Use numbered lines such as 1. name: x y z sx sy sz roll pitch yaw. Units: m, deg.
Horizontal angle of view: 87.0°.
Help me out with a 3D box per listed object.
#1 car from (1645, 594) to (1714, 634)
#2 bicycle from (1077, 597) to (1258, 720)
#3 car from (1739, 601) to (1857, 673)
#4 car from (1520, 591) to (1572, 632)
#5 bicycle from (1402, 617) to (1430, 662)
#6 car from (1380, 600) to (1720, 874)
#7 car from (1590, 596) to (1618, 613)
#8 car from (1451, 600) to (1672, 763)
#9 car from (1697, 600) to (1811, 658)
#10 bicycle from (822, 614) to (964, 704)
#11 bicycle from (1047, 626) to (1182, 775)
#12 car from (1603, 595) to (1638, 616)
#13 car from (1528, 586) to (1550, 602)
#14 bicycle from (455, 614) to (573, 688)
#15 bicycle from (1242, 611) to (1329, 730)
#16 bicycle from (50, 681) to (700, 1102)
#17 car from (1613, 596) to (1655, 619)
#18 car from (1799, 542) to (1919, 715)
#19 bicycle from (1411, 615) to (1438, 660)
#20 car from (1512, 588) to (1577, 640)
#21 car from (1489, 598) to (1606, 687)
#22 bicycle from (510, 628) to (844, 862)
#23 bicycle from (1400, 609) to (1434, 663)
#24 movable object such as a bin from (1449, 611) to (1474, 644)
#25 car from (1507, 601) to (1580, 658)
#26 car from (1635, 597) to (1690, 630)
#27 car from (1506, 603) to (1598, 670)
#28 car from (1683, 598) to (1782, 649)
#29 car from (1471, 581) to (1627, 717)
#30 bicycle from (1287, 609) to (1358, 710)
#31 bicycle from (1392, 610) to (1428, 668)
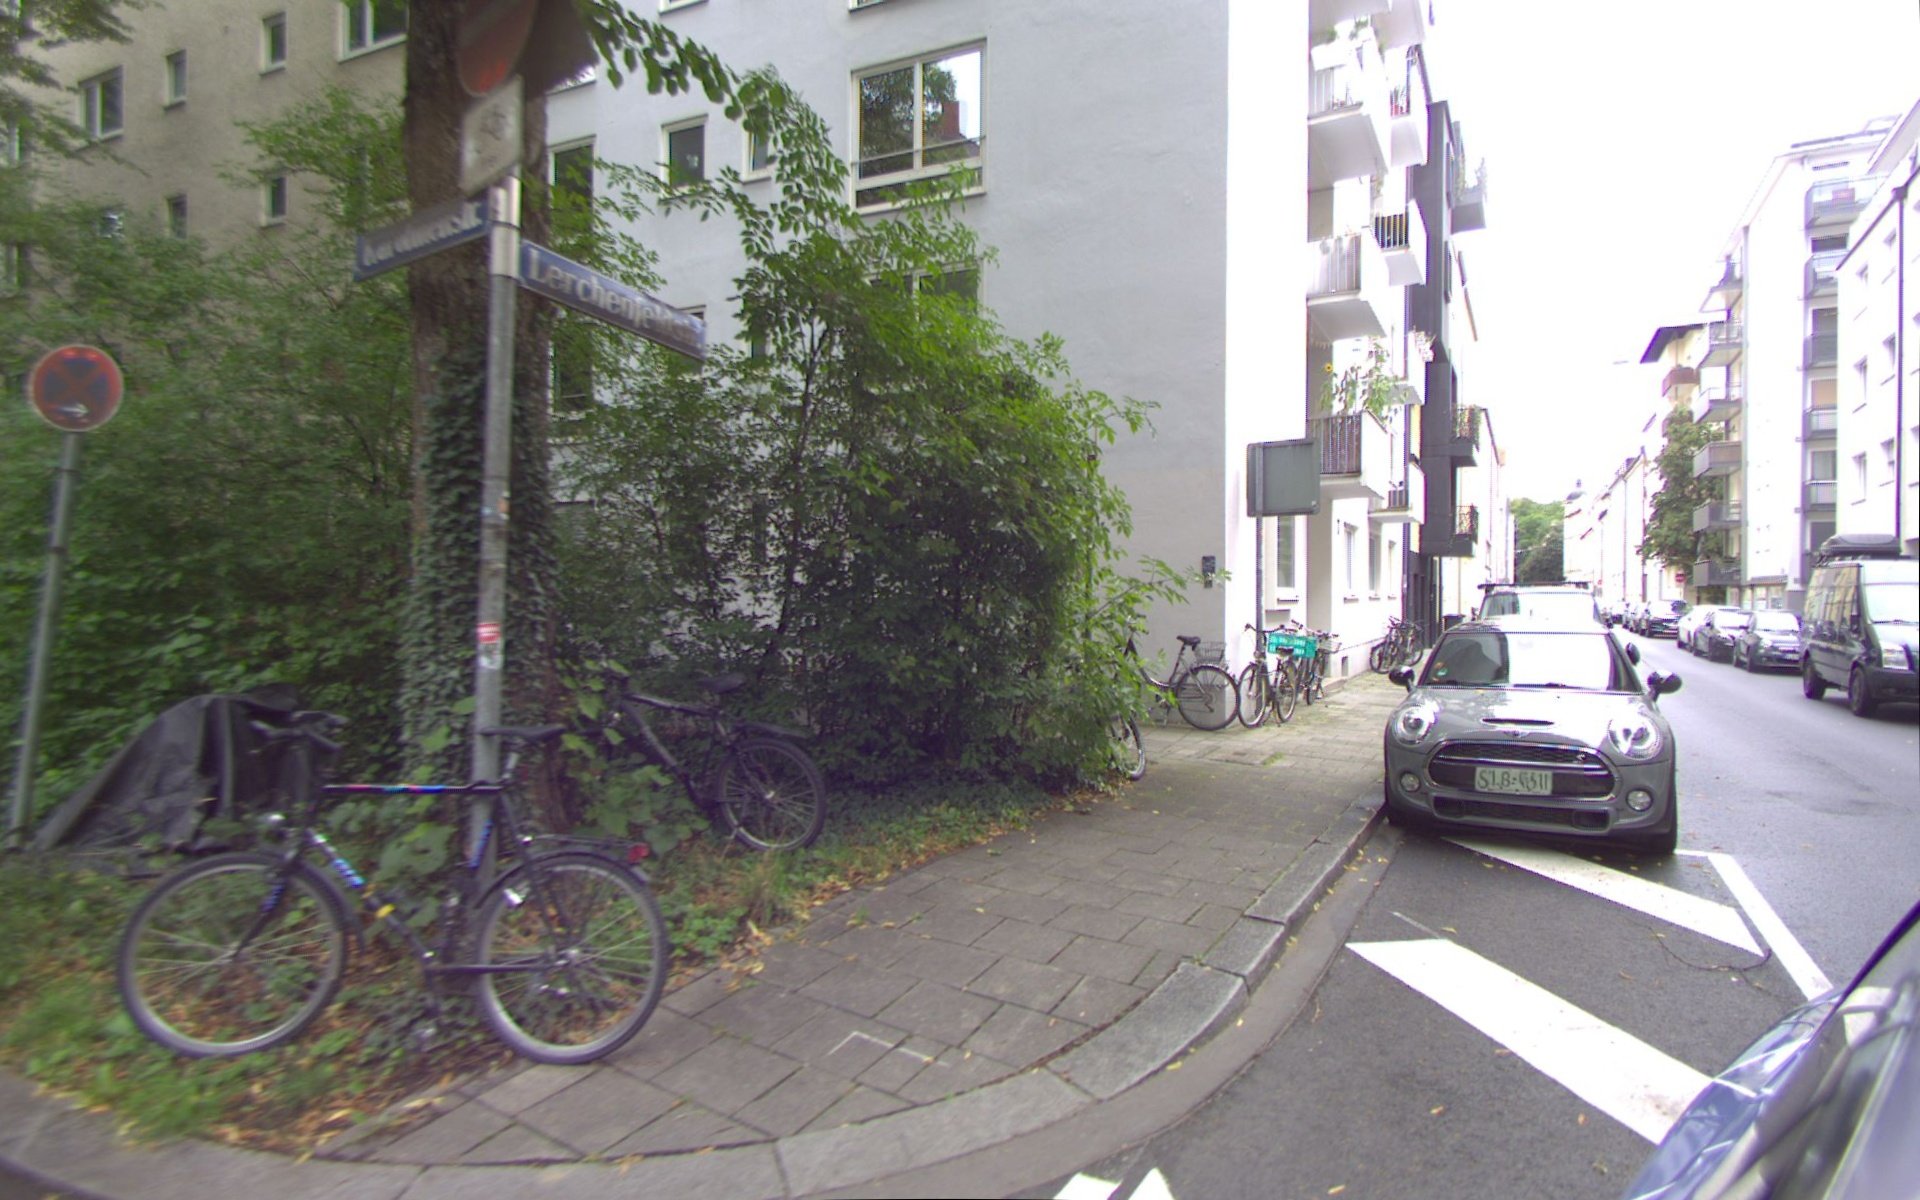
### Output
1. car: 31.151 0.553 43.935 1.956 1.627 4.493 1 1 30
2. bicycle: 2.225 0.600 10.901 1.833 1.245 0.573 0 -1 24
3. car: 20.029 0.819 24.340 1.605 1.464 3.701 3 2 32
4. car: 26.359 0.481 45.596 1.951 1.695 4.494 1 1 30
5. bicycle: 10.739 0.912 23.826 0.474 1.015 1.536 0 0 29
6. car: 4.463 0.753 7.741 1.735 1.459 3.956 1 1 31
7. car: 57.436 0.368 90.319 1.881 1.471 4.251 1 1 30
8. car: 6.739 0.754 11.542 1.823 1.437 4.016 1 1 29
9. car: 22.123 0.745 28.367 1.790 1.434 4.185 1 1 28
10. bicycle: -0.828 0.693 12.374 1.683 1.036 0.534 0 -1 25
11. bicycle: 1.240 0.775 8.444 0.442 1.069 1.638 0 0 -17
12. car: 48.931 0.376 75.039 1.881 1.471 4.251 1 1 30
13. car: 59.277 -0.649 103.672 1.881 1.651 4.251 1 1 30
14. bicycle: -6.603 0.728 14.967 1.683 1.036 0.648 0 -1 24
15. bicycle: 3.789 0.754 11.676 0.557 1.235 1.897 -1 0 30
16. bicycle: -1.766 0.864 3.241 1.738 1.152 0.555 0 0 -4
17. car: 43.630 0.480 65.570 1.956 1.394 4.251 1 1 30
18. car: 14.751 0.385 15.502 2.009 2.307 5.332 2 2 31
19. bicycle: 11.584 0.910 25.223 0.474 1.061 1.506 0 0 29
20. car: 22.388 0.490 38.853 1.971 1.862 5.130 -2 0 30
21. car: 12.198 0.772 21.117 1.895 1.573 4.577 1 1 30
22. bicycle: -1.467 0.696 5.286 1.612 1.069 0.603 0 0 17
23. bicycle: 10.417 0.793 23.038 0.567 1.165 1.547 0 0 29
24. movable object such as a bin: 18.043 0.986 36.393 0.791 1.154 0.568 0 0 29
25. car: 16.988 0.802 29.587 1.724 1.447 4.160 1 1 29
26. car: 34.028 0.605 49.127 1.804 1.460 4.251 1 1 30
27. car: 14.735 0.869 25.361 1.749 1.449 4.219 -3 -1 28
28. car: 24.789 0.702 32.644 1.902 1.455 4.758 1 1 30
29. car: 9.315 0.623 16.126 1.864 1.813 4.732 1 1 30
30. bicycle: 4.912 0.747 13.640 0.619 1.235 2.227 0 0 27
31. bicycle: 9.598 0.813 21.578 0.567 1.165 1.416 0 0 29
